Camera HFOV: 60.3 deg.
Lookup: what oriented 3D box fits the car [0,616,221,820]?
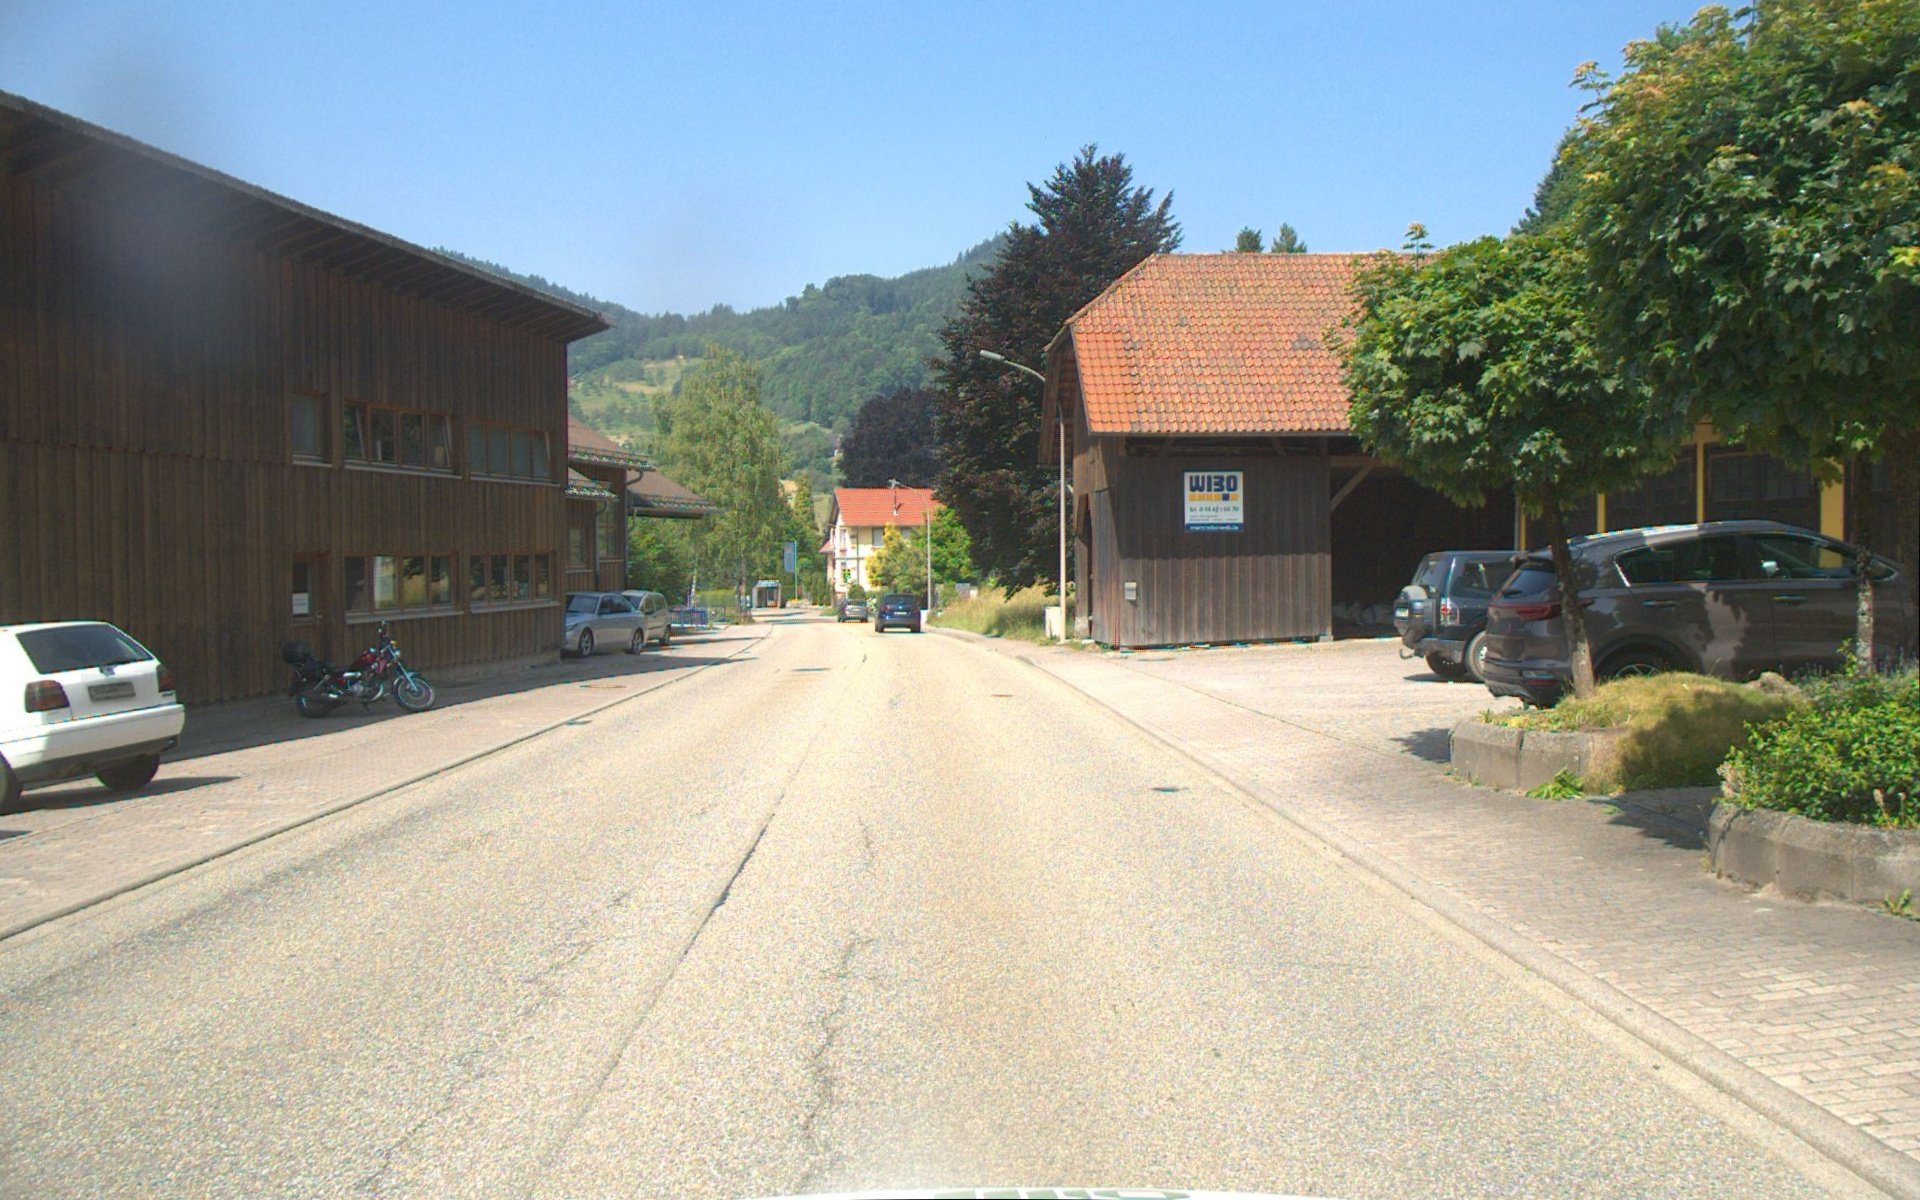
[{"bbox_3d":[-8.069,1.001,13.192,3.582,1.409,1.712,-5,0,13],"label":"car"}]

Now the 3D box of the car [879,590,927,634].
[{"bbox_3d":[-2.453,0.488,69.866,1.881,1.728,3.785,-2,0,-4],"label":"car"}]

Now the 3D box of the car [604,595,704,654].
[{"bbox_3d":[-9.026,0.684,49.074,1.547,1.597,4.026,2,1,10],"label":"car"}]

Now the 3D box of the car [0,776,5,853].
[{"bbox_3d":[-8.389,1.022,10.366,4.341,1.500,1.924,-5,0,24],"label":"car"}]

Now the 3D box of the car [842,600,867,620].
[{"bbox_3d":[-6.901,0.657,107.939,1.448,1.230,2.381,-2,0,-6],"label":"car"}]

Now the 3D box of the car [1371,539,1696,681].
[{"bbox_3d":[8.369,0.134,24.348,4.046,1.864,1.952,-2,0,-5],"label":"car"}]

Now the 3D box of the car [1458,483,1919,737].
[{"bbox_3d":[6.621,0.030,14.068,4.135,1.716,1.777,-6,0,2],"label":"car"}]

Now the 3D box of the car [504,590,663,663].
[{"bbox_3d":[-8.560,0.559,38.022,1.692,1.479,4.809,0,1,12],"label":"car"}]

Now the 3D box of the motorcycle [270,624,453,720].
[{"bbox_3d":[-8.579,1.028,23.731,2.357,1.286,0.744,-2,0,8],"label":"motorcycle"}]
